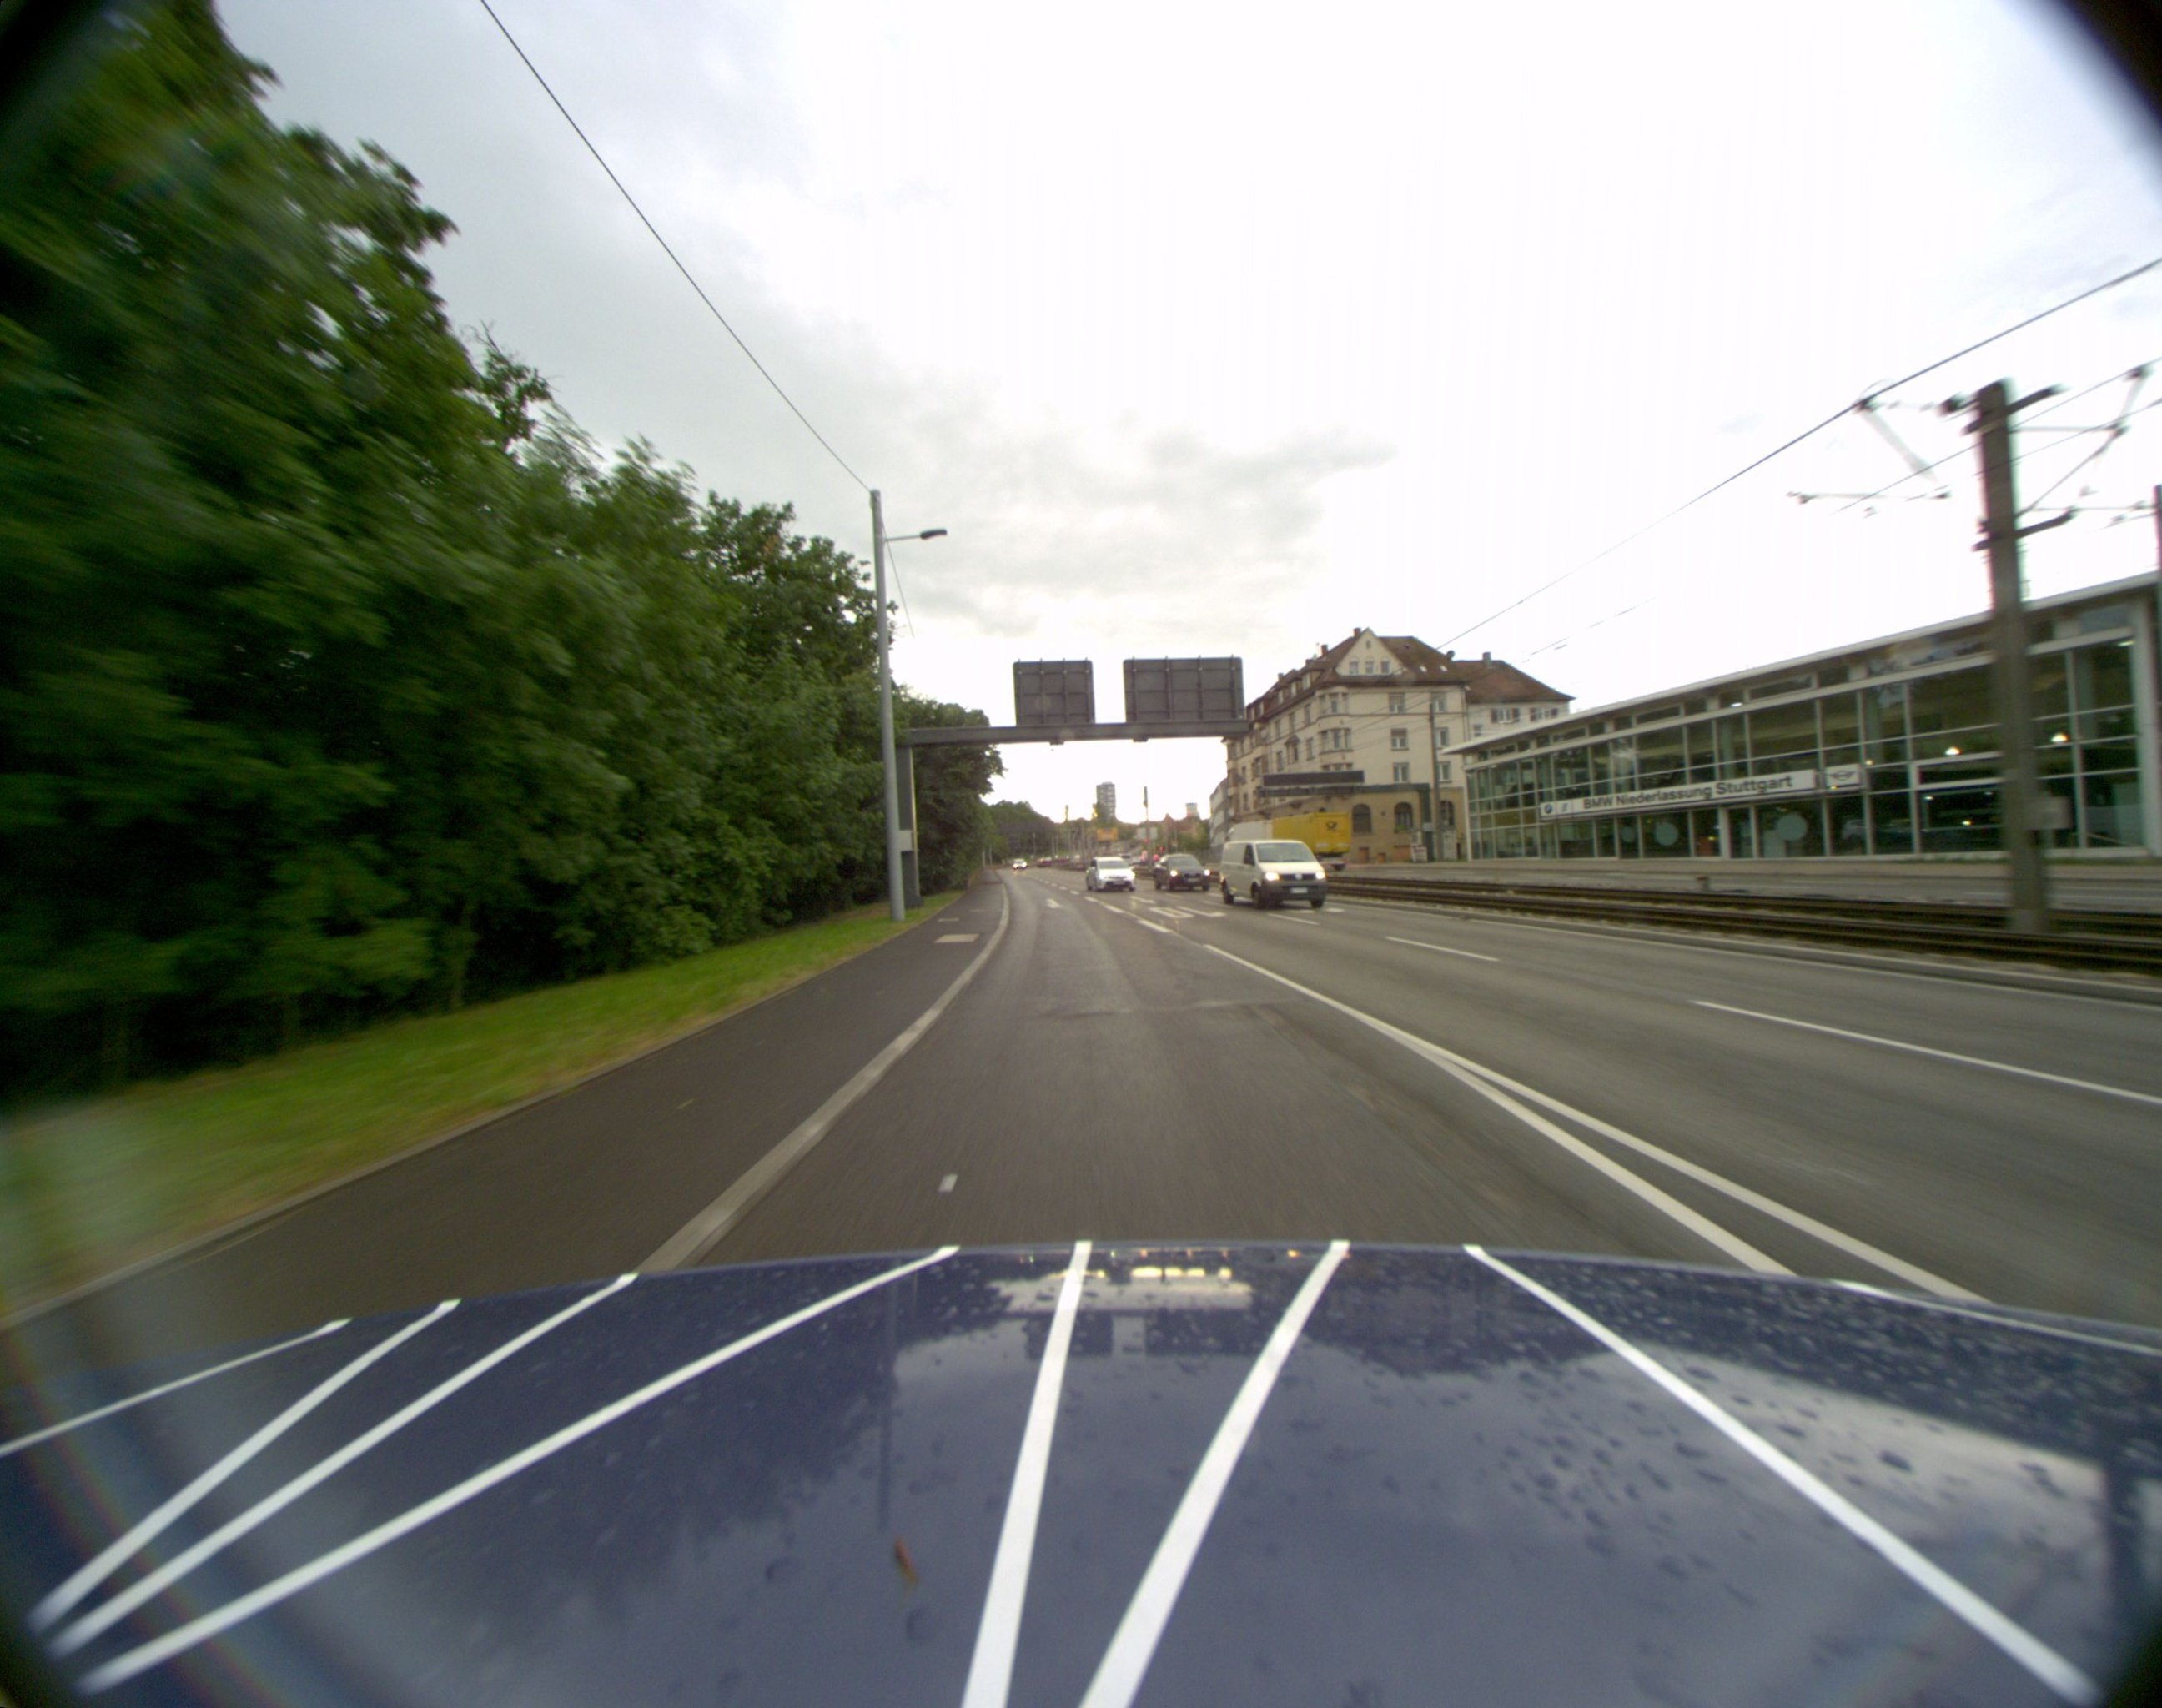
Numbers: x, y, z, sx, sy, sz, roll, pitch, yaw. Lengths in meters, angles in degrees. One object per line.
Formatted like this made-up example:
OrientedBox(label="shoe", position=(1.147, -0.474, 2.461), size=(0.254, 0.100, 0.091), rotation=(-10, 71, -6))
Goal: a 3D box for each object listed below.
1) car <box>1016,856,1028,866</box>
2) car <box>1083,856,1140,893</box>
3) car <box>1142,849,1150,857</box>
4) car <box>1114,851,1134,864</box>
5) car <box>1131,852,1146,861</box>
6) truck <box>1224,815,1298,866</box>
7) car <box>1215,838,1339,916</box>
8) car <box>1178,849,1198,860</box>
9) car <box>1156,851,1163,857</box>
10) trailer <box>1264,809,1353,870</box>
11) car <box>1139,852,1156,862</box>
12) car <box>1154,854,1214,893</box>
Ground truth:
OrientedBox(label="car", position=(-9.577, 1.153, 123.117), size=(1.711, 1.585, 3.998), rotation=(-3, 0, -6))
OrientedBox(label="car", position=(1.360, 0.932, 35.755), size=(1.983, 1.564, 4.316), rotation=(-2, 0, -7))
OrientedBox(label="car", position=(20.858, -0.228, 243.817), size=(2.336, 2.453, 7.029), rotation=(-2, 0, 6))
OrientedBox(label="car", position=(6.444, 0.478, 114.021), size=(2.000, 1.863, 5.190), rotation=(-2, 0, -7))
OrientedBox(label="car", position=(10.400, 0.474, 137.073), size=(1.726, 1.583, 4.740), rotation=(0, 0, -8))
OrientedBox(label="truck", position=(15.249, -1.057, 65.321), size=(2.691, 4.028, 10.136), rotation=(-2, 0, -7))
OrientedBox(label="car", position=(5.563, 0.609, 22.276), size=(1.915, 1.947, 4.715), rotation=(-2, 0, -6))
OrientedBox(label="car", position=(14.329, 0.061, 101.869), size=(1.685, 1.396, 3.849), rotation=(-2, 0, -6))
OrientedBox(label="car", position=(23.810, 0.058, 229.540), size=(1.835, 1.787, 4.218), rotation=(-1, 0, 8))
OrientedBox(label="trailer", position=(16.476, -0.964, 55.838), size=(2.691, 4.028, 9.077), rotation=(-2, 0, -7))
OrientedBox(label="car", position=(9.989, 0.475, 113.802), size=(1.611, 1.425, 4.329), rotation=(-2, 0, -6))
OrientedBox(label="car", position=(4.496, 0.816, 33.705), size=(1.709, 1.564, 3.894), rotation=(-2, 0, -6))
